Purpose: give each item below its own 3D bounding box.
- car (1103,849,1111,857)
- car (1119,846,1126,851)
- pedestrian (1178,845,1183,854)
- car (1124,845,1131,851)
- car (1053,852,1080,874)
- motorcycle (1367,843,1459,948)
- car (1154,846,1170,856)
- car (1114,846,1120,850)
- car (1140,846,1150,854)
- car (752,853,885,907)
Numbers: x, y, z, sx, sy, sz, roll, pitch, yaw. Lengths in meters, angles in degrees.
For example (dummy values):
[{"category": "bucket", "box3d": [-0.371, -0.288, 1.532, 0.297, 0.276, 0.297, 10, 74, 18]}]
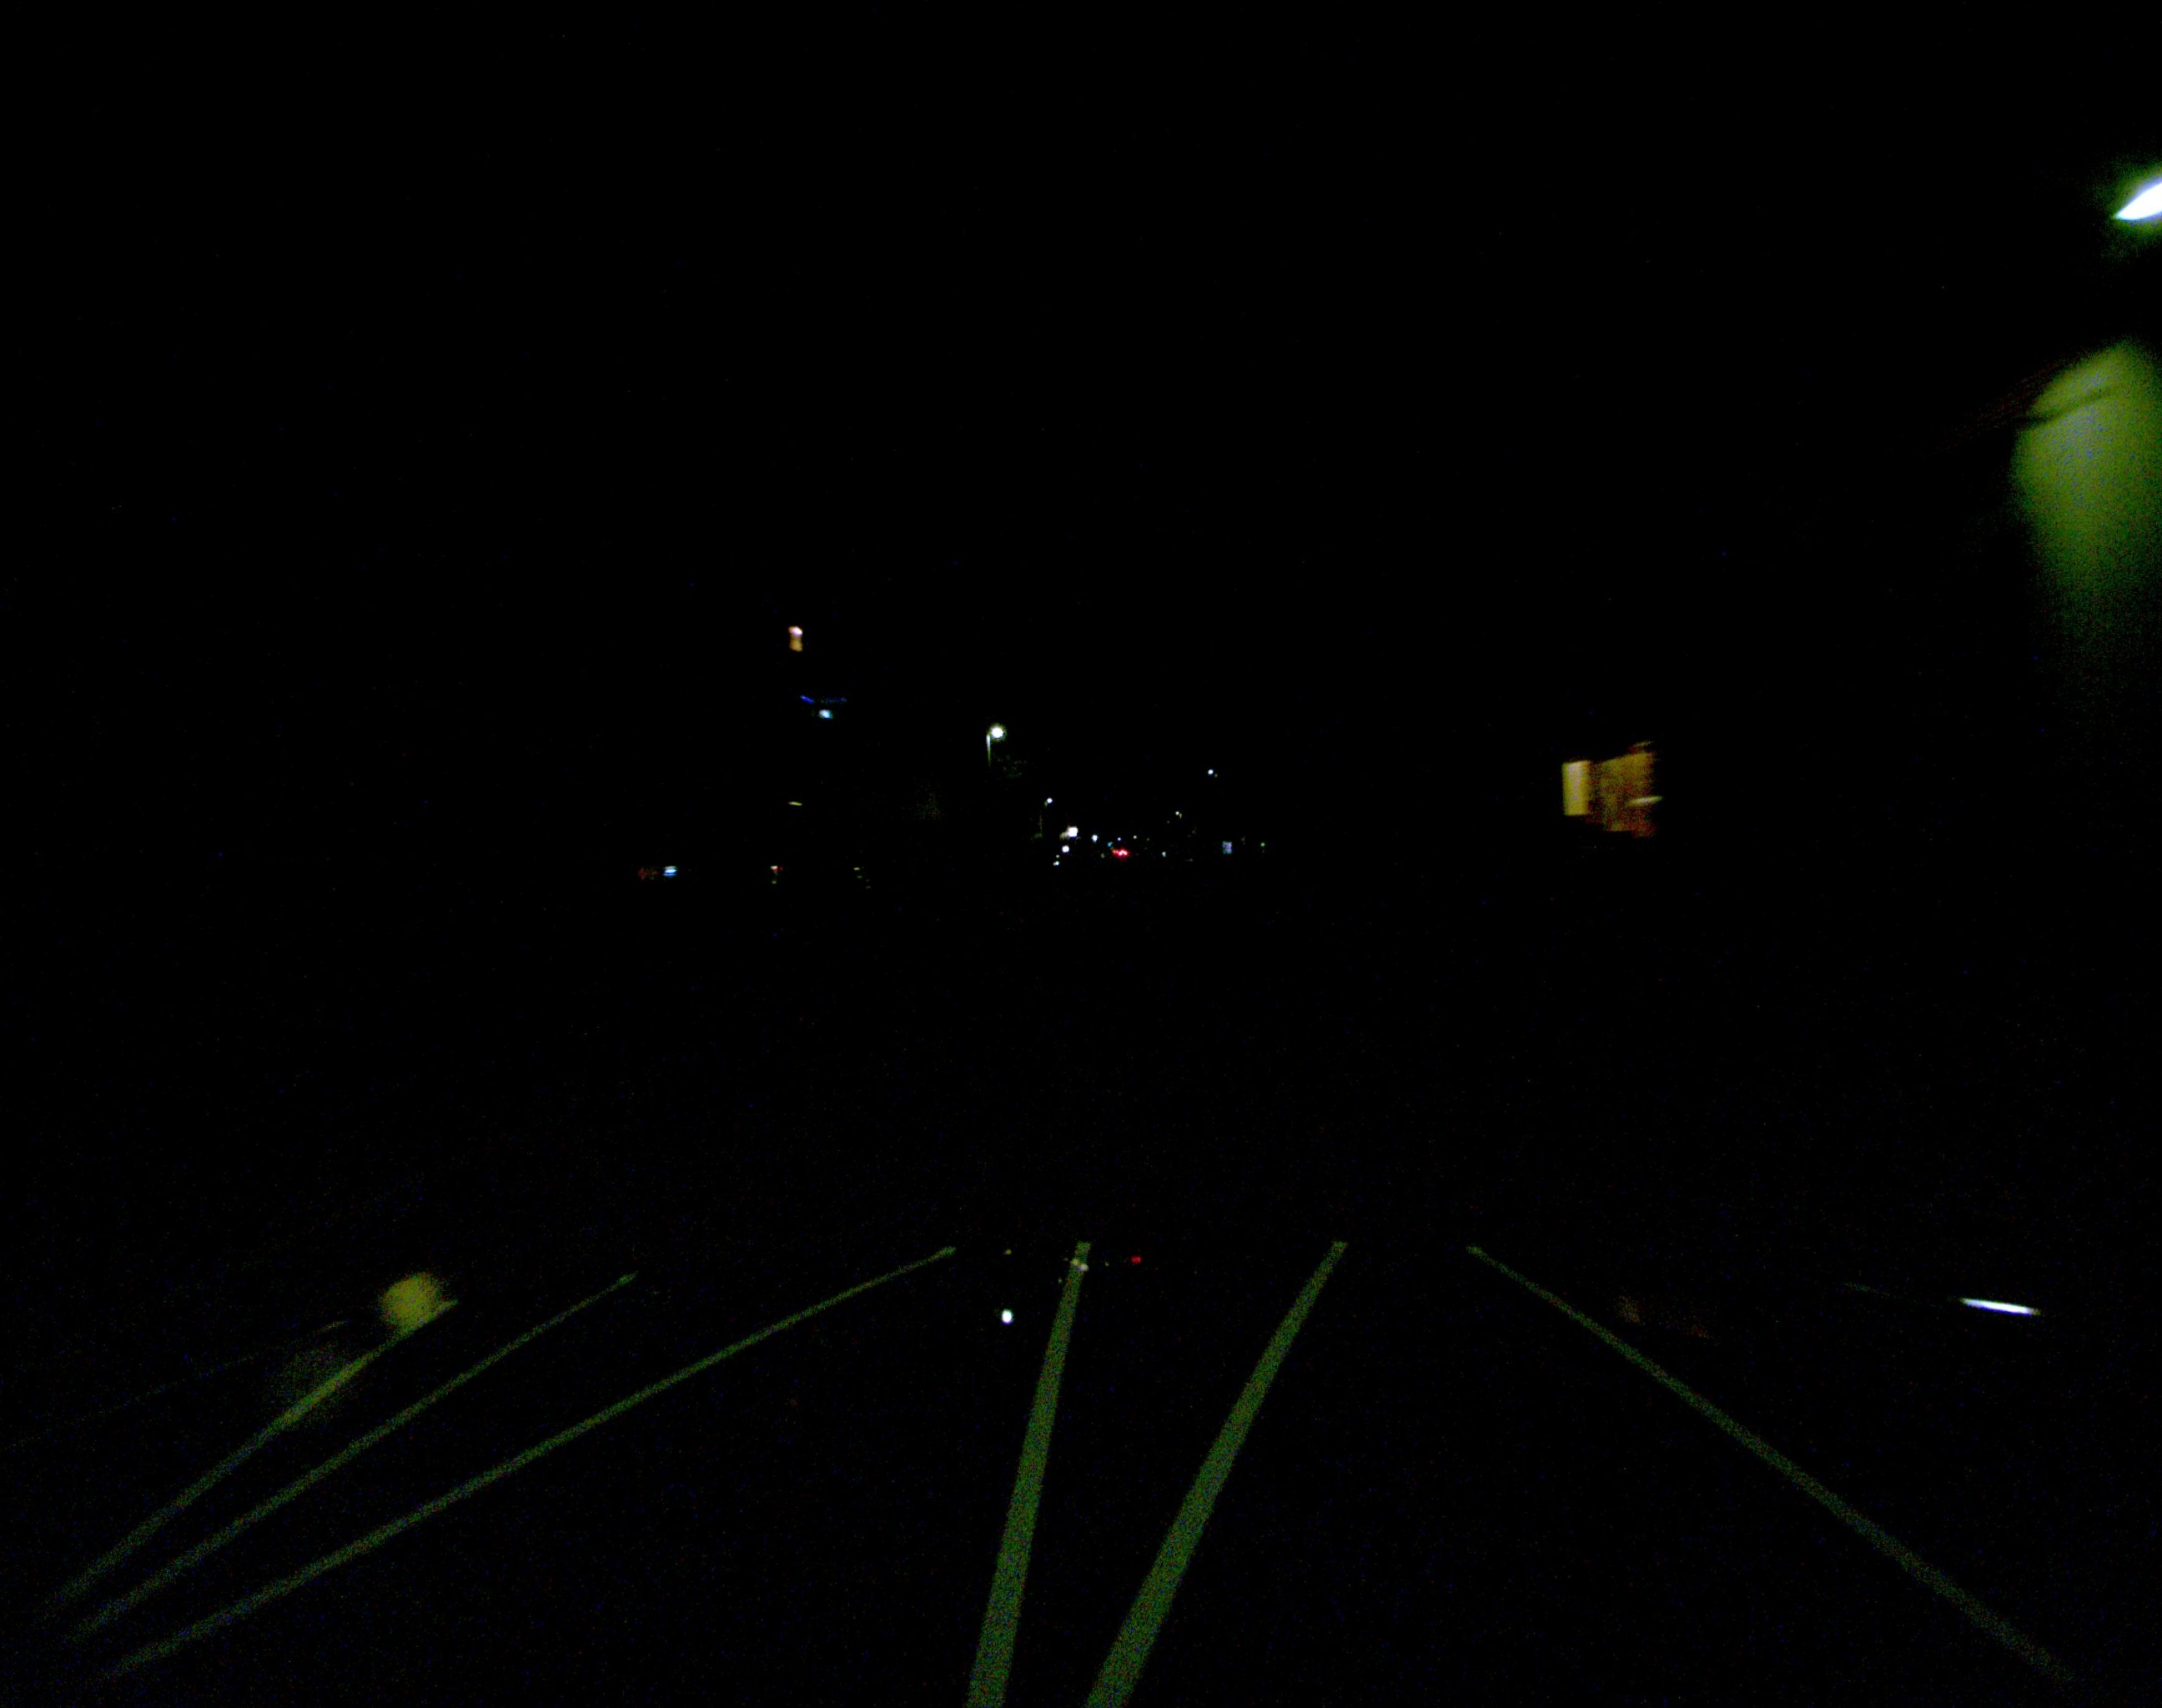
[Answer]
[{"category": "car", "box3d": [5.346, -0.208, 158.310, 1.606, 1.474, 3.699, -1, 1, 1]}, {"category": "car", "box3d": [12.034, -1.612, 219.862, 1.752, 1.635, 4.307, -1, 1, 1]}, {"category": "pedestrian", "box3d": [16.670, -0.723, 127.108, 0.529, 1.579, 0.665, -2, 1, -6]}, {"category": "car", "box3d": [12.505, -1.566, 203.586, 1.720, 1.420, 3.816, -2, 1, 4]}, {"category": "car", "box3d": [-1.067, 0.627, 56.468, 1.747, 1.560, 4.208, -1, 1, 2]}, {"category": "motorcycle", "box3d": [5.022, 0.568, 11.650, 0.747, 1.444, 2.197, -2, 1, 9]}, {"category": "car", "box3d": [11.618, -0.443, 109.163, 1.900, 1.411, 4.931, -3, 0, 4]}, {"category": "car", "box3d": [11.436, -1.970, 239.550, 1.821, 1.271, 3.917, -2, 1, 3]}, {"category": "car", "box3d": [13.709, -0.913, 163.307, 1.814, 1.637, 3.804, -3, 0, 3]}, {"category": "car", "box3d": [-8.149, 0.782, 23.832, 3.514, 1.516, 1.820, 1, 1, 0]}]
